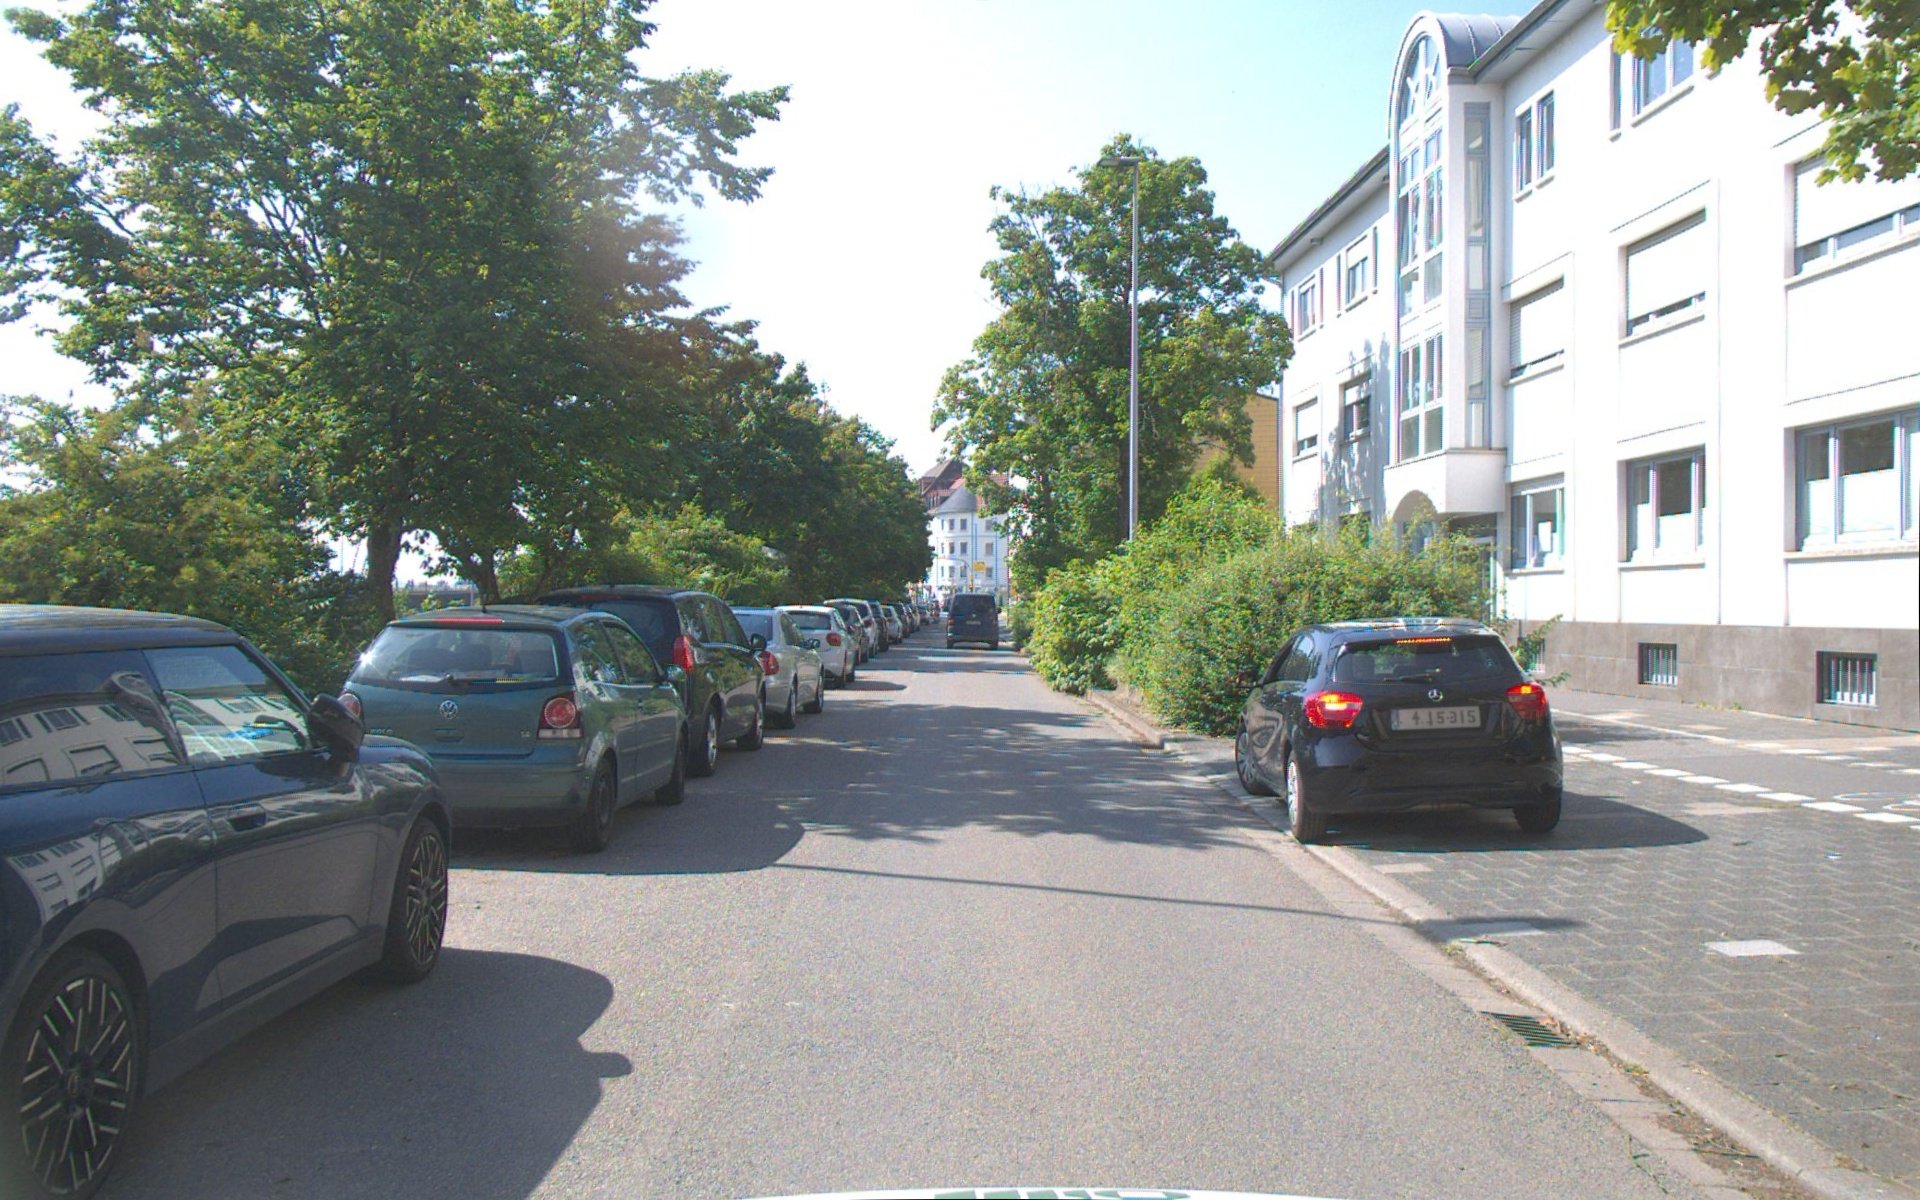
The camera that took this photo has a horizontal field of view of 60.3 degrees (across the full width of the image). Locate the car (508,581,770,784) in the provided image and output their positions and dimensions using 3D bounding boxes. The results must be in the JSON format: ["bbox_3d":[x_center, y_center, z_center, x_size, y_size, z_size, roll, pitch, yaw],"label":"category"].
[{"bbox_3d":[-2.866,0.673,15.582,1.630,1.611,3.931,2,0,0],"label":"car"}]

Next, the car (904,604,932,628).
[{"bbox_3d":[-2.944,1.131,117.323,1.953,1.686,3.999,0,0,-1],"label":"car"}]

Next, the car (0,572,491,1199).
[{"bbox_3d":[-2.843,0.678,5.124,1.630,1.499,3.789,2,0,0],"label":"car"}]

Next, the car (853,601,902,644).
[{"bbox_3d":[-3.181,0.831,64.085,1.630,1.536,4.008,2,0,0],"label":"car"}]

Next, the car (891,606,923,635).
[{"bbox_3d":[-2.925,1.105,91.645,1.629,1.536,4.008,1,0,0],"label":"car"}]

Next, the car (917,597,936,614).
[{"bbox_3d":[-3.564,0.586,175.035,1.953,1.686,3.999,0,0,-1],"label":"car"}]

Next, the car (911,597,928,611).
[{"bbox_3d":[-4.650,0.470,190.972,1.953,1.686,3.740,0,0,-1],"label":"car"}]

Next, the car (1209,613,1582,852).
[{"bbox_3d":[3.022,0.840,12.340,1.691,1.445,3.999,-1,0,0],"label":"car"}]

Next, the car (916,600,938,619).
[{"bbox_3d":[-2.929,0.845,146.293,1.953,1.686,3.999,0,0,-1],"label":"car"}]

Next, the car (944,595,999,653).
[{"bbox_3d":[0.423,0.828,59.653,1.844,1.955,4.008,2,0,0],"label":"car"}]

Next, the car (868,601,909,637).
[{"bbox_3d":[-3.215,0.840,75.127,1.630,1.536,4.008,2,0,0],"label":"car"}]

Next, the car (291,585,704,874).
[{"bbox_3d":[-2.857,0.710,11.063,1.630,1.538,3.789,2,0,0],"label":"car"}]

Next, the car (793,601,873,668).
[{"bbox_3d":[-3.155,0.832,41.889,1.630,1.536,4.201,2,0,0],"label":"car"}]

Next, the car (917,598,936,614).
[{"bbox_3d":[-3.457,0.632,169.977,1.953,1.686,3.999,0,0,-1],"label":"car"}]

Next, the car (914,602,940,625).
[{"bbox_3d":[-2.512,1.018,127.128,1.953,1.686,3.999,0,0,-1],"label":"car"}]

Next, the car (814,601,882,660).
[{"bbox_3d":[-3.185,0.844,47.723,1.630,1.536,4.008,2,0,0],"label":"car"}]

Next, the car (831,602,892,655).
[{"bbox_3d":[-3.113,0.879,52.996,1.630,1.536,4.008,2,0,0],"label":"car"}]

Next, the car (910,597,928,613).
[{"bbox_3d":[-4.538,0.554,181.991,1.953,1.686,3.999,0,0,-1],"label":"car"}]

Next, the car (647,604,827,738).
[{"bbox_3d":[-2.701,0.805,20.909,1.630,1.431,4.319,2,0,0],"label":"car"}]

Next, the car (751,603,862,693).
[{"bbox_3d":[-2.826,0.854,31.179,1.630,1.494,4.201,2,0,0],"label":"car"}]
